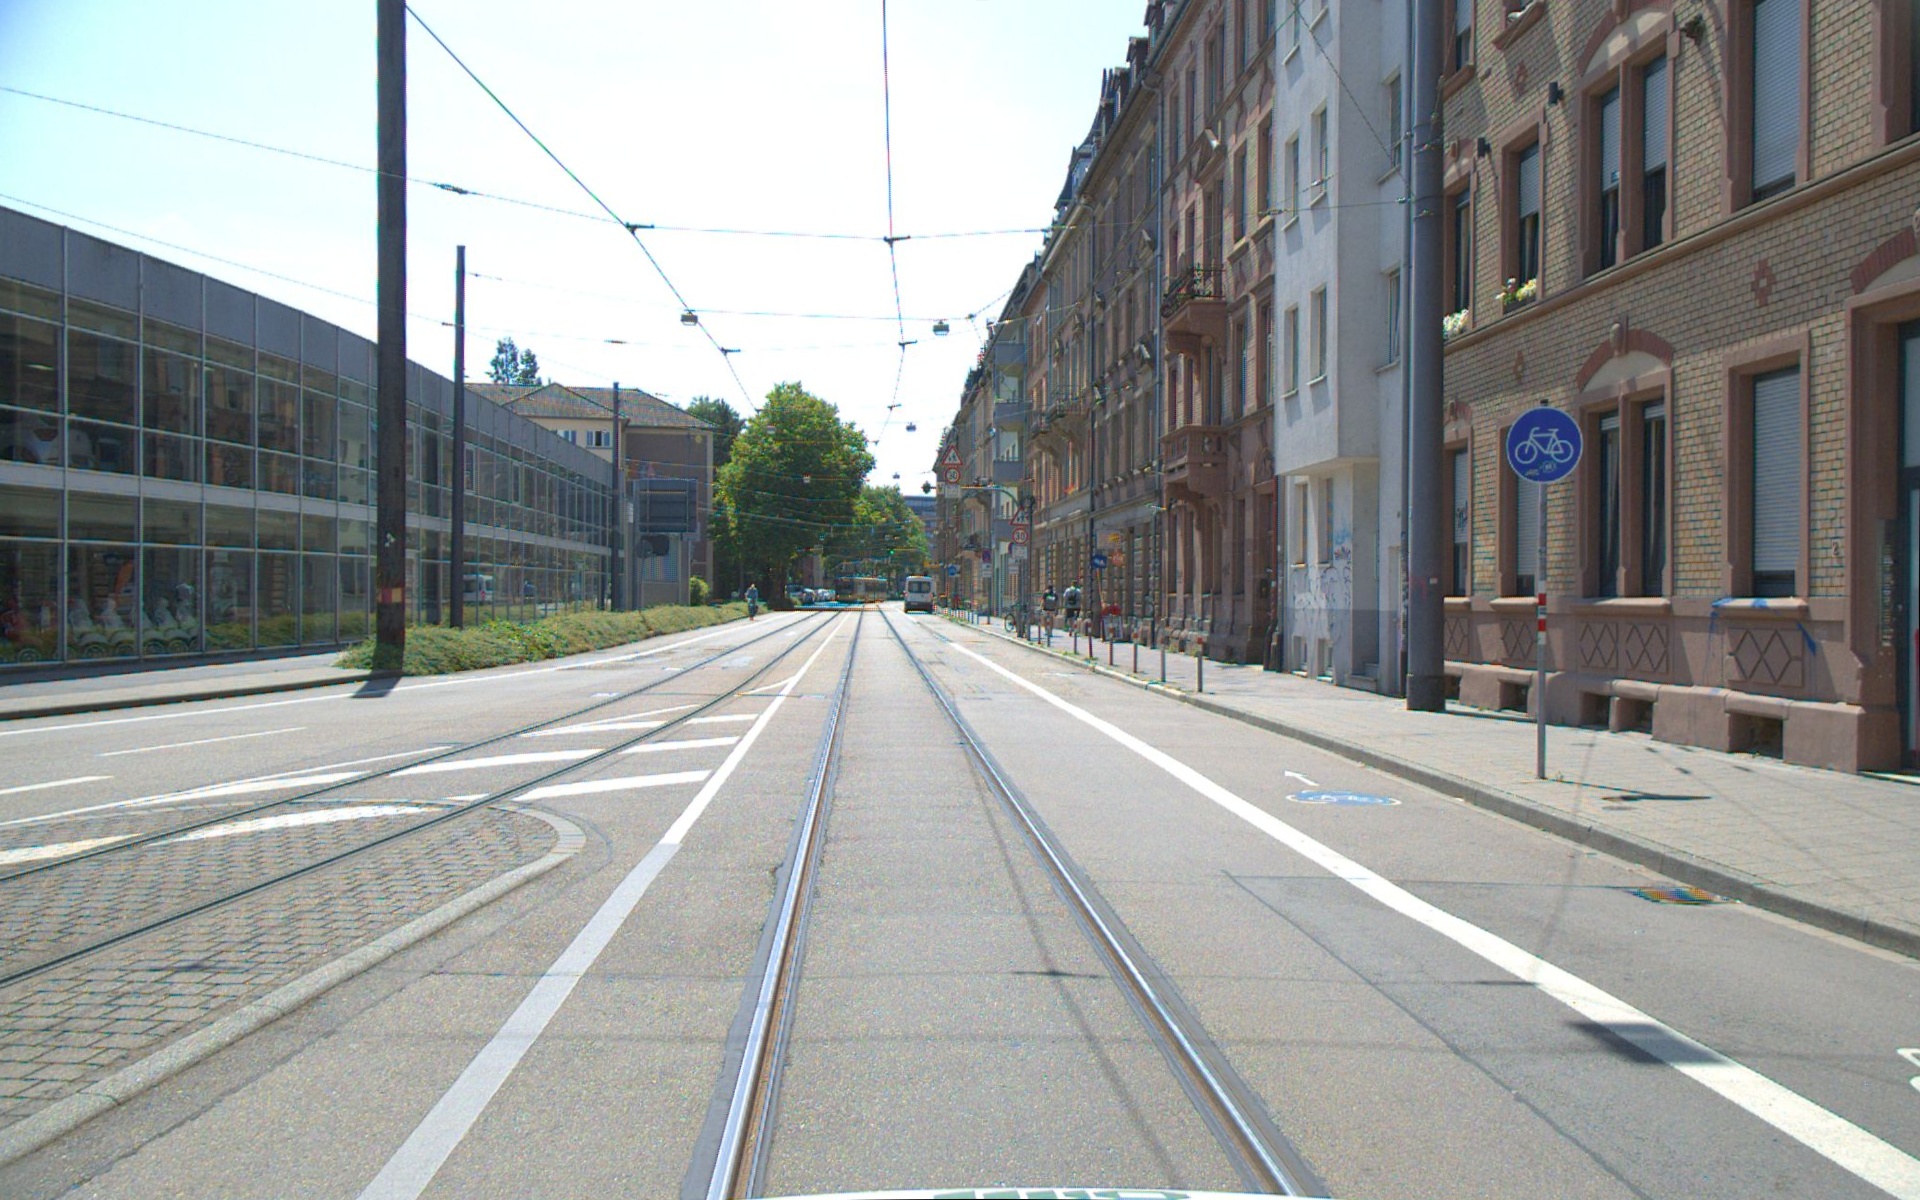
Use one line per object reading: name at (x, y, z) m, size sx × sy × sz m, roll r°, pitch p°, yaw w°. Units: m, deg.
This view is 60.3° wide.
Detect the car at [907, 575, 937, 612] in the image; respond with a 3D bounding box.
car at (-2.731, -0.471, 117.437) m, size 2.026 × 2.544 × 5.452 m, roll 1°, pitch 0°, yaw -2°

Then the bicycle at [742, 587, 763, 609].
bicycle at (-10.798, -0.110, 86.068) m, size 0.683 × 1.164 × 2.496 m, roll 0°, pitch 0°, yaw 3°

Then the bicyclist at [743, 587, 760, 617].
bicyclist at (-10.814, 0.105, 85.897) m, size 0.683 × 1.575 × 0.980 m, roll 0°, pitch 0°, yaw 3°

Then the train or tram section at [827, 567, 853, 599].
train or tram section at (-13.945, -1.947, 193.000) m, size 2.902 × 3.643 × 13.413 m, roll 0°, pitch 0°, yaw -4°

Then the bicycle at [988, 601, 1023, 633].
bicycle at (1.746, 0.642, 63.363) m, size 0.489 × 1.150 × 2.241 m, roll 0°, pitch 0°, yaw 25°

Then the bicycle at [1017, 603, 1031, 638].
bicycle at (2.160, 0.682, 55.682) m, size 0.438 × 1.116 × 2.423 m, roll 0°, pitch 0°, yaw 2°

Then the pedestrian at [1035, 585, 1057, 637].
pedestrian at (2.945, 0.379, 56.753) m, size 0.706 × 1.750 × 0.643 m, roll 0°, pitch 0°, yaw -2°

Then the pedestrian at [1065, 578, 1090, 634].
pedestrian at (4.024, 0.204, 56.679) m, size 0.688 × 1.881 × 0.643 m, roll -3°, pitch 0°, yaw -2°
